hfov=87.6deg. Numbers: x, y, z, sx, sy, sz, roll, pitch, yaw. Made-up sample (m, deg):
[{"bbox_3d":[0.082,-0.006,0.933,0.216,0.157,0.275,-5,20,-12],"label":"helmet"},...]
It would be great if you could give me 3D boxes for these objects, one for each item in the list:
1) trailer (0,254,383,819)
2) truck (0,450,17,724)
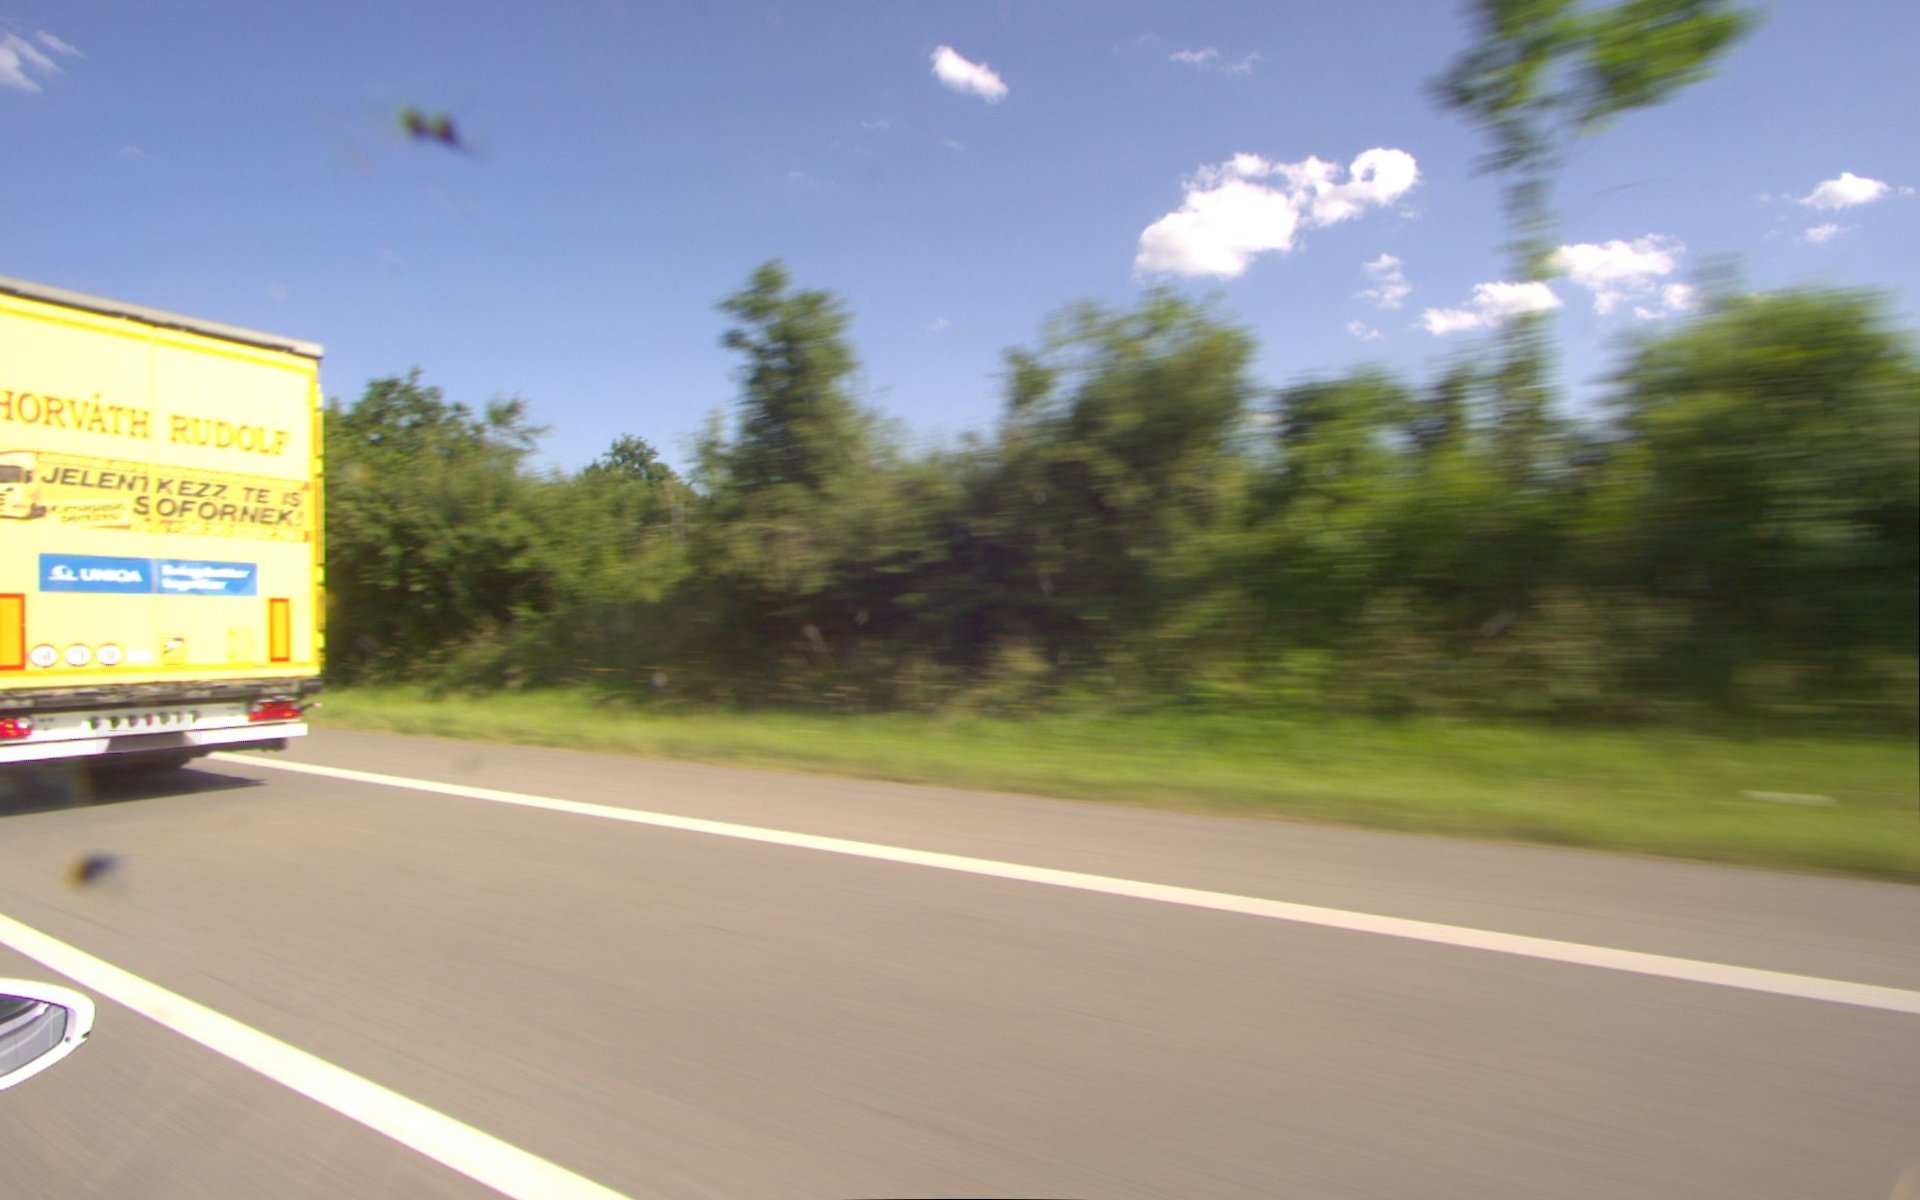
[{"bbox_3d":[-11.867,-0.301,11.753,12.999,4.111,3.179,-1,-2,32],"label":"trailer"},{"bbox_3d":[-18.015,-0.177,15.681,6.296,4.166,3.164,-1,-2,31],"label":"truck"}]
